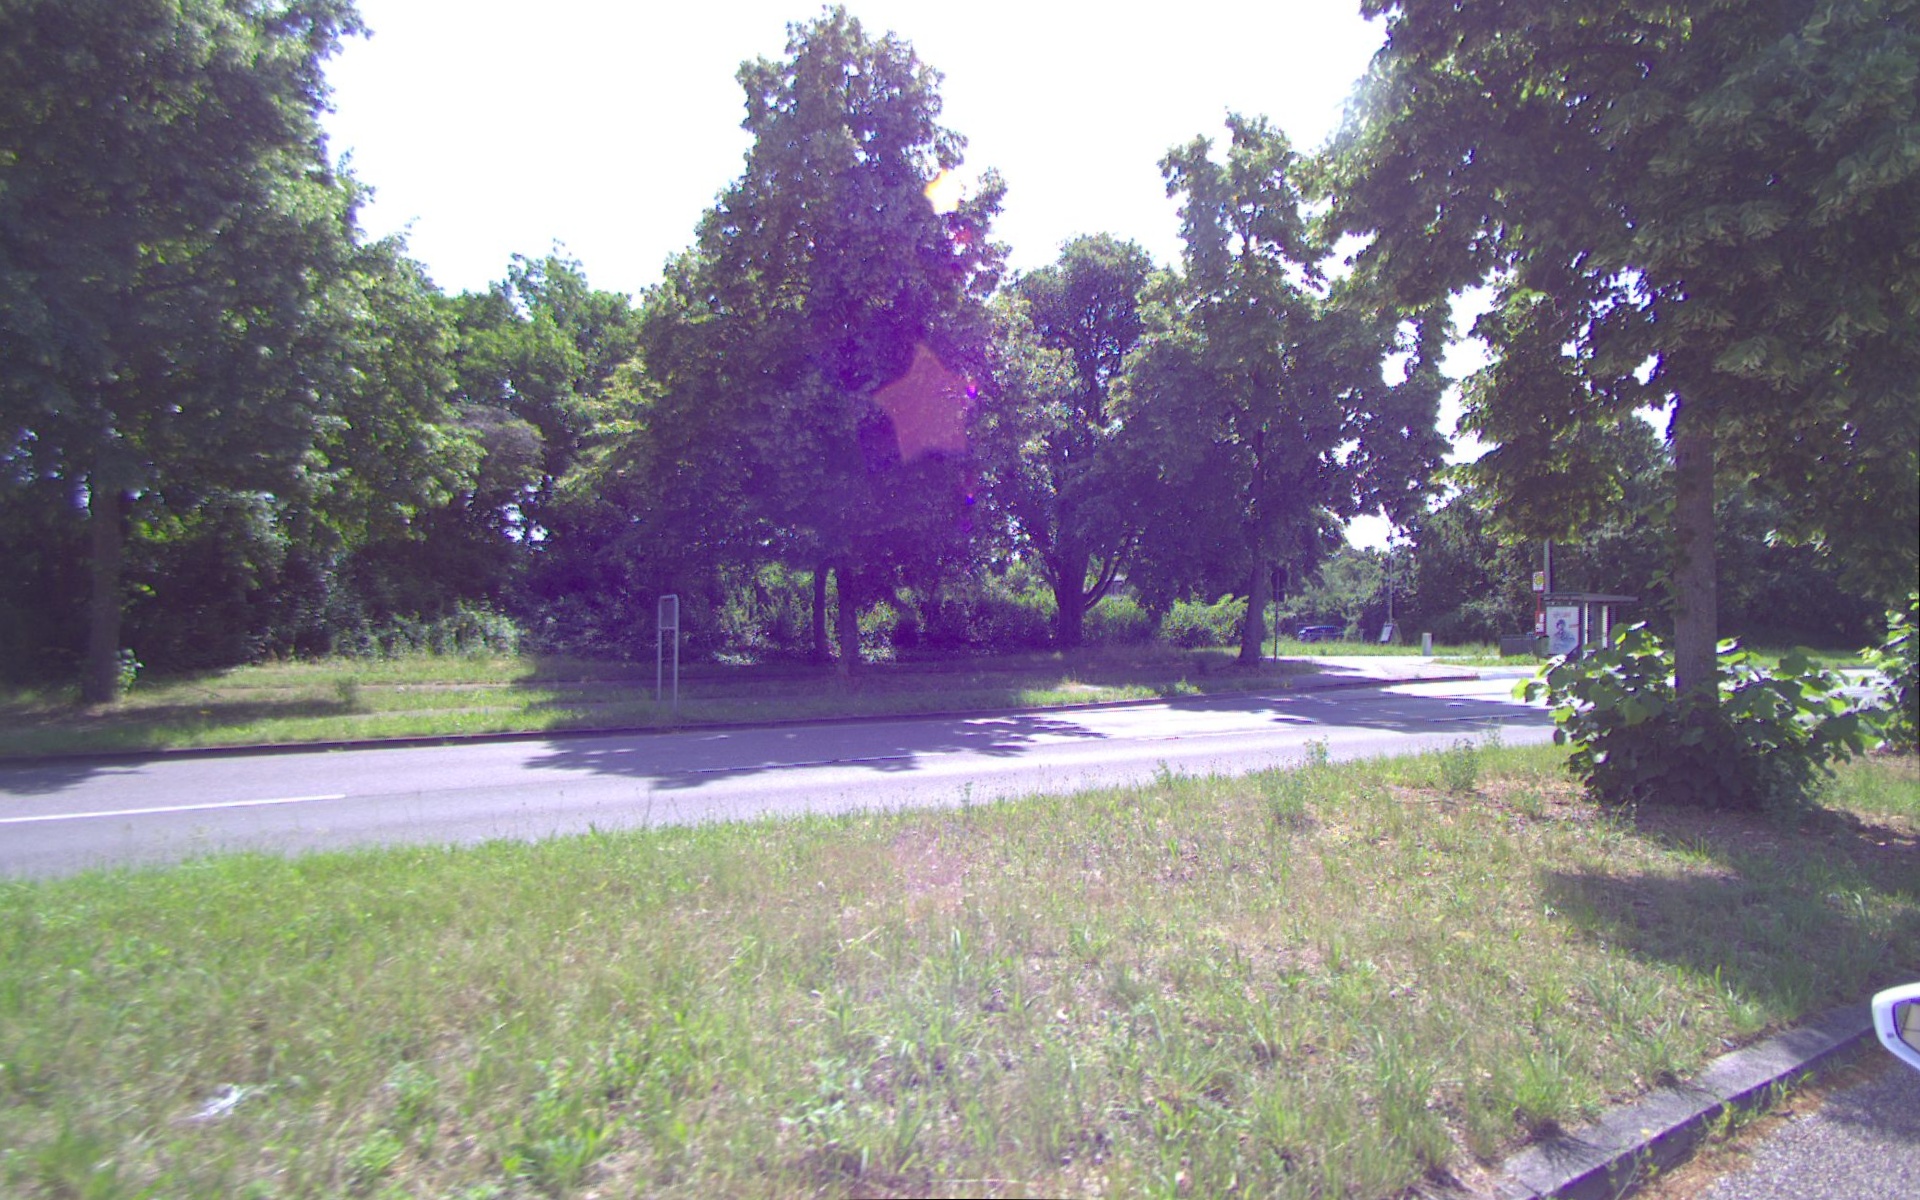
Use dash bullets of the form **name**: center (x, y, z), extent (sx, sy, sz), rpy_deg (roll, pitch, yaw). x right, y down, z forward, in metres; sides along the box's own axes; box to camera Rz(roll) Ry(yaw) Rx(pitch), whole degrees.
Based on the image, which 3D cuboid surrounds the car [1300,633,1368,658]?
- **car**: center (24.955, 3.003, 67.047), extent (3.919, 1.528, 1.761), rpy_deg (1, -1, 4)
